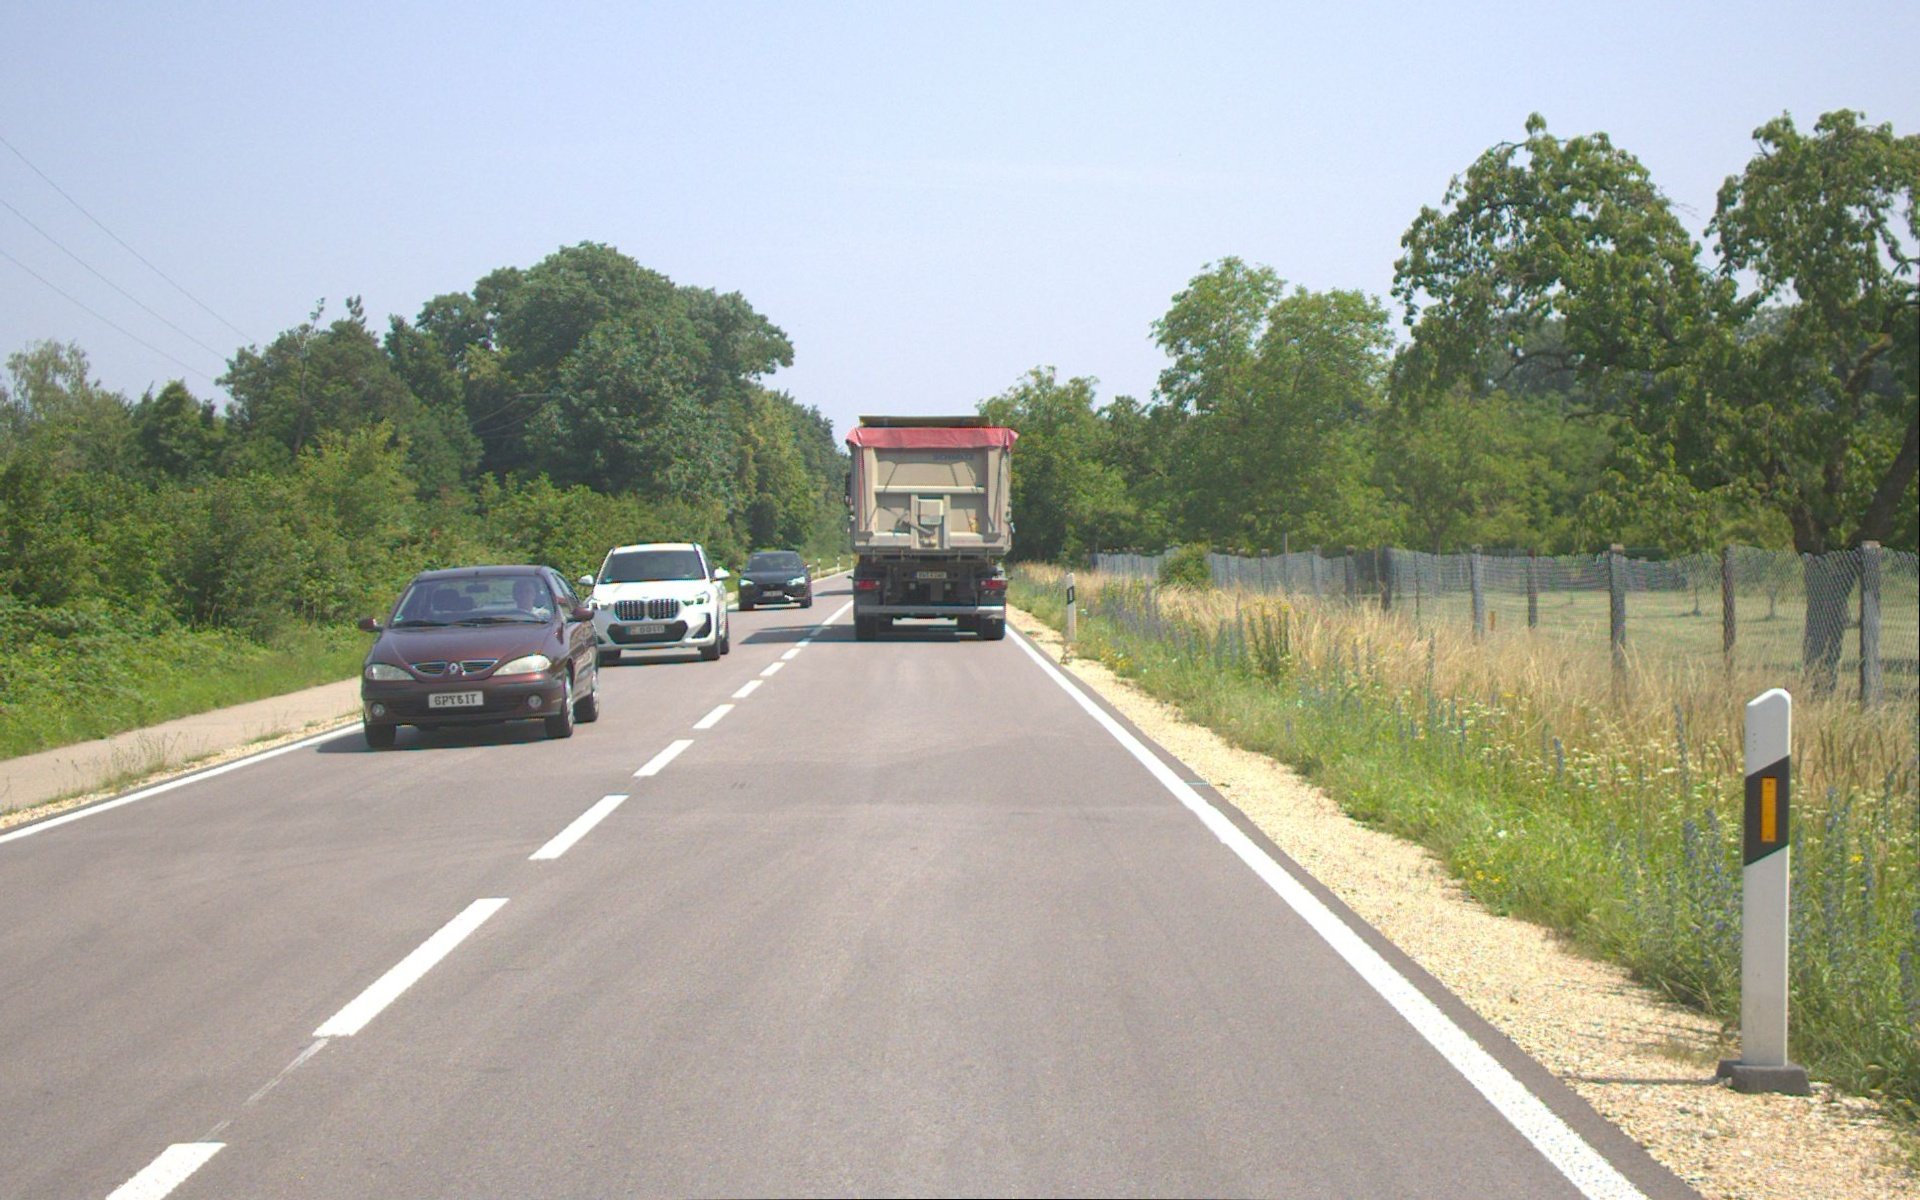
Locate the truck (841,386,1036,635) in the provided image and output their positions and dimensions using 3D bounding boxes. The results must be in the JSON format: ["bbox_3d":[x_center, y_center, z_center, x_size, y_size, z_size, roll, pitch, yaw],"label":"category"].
[{"bbox_3d":[-0.418,-1.486,60.213,3.009,3.861,12.210,1,1,-1],"label":"truck"}]

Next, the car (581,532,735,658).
[{"bbox_3d":[-4.194,-0.106,48.335,1.758,1.601,4.482,-3,1,-1],"label":"car"}]

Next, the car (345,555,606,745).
[{"bbox_3d":[-4.010,0.368,29.031,1.694,1.401,4.046,-3,1,-2],"label":"car"}]

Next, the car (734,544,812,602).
[{"bbox_3d":[-4.741,-0.708,87.496,1.758,1.353,4.046,-3,1,-1],"label":"car"}]
